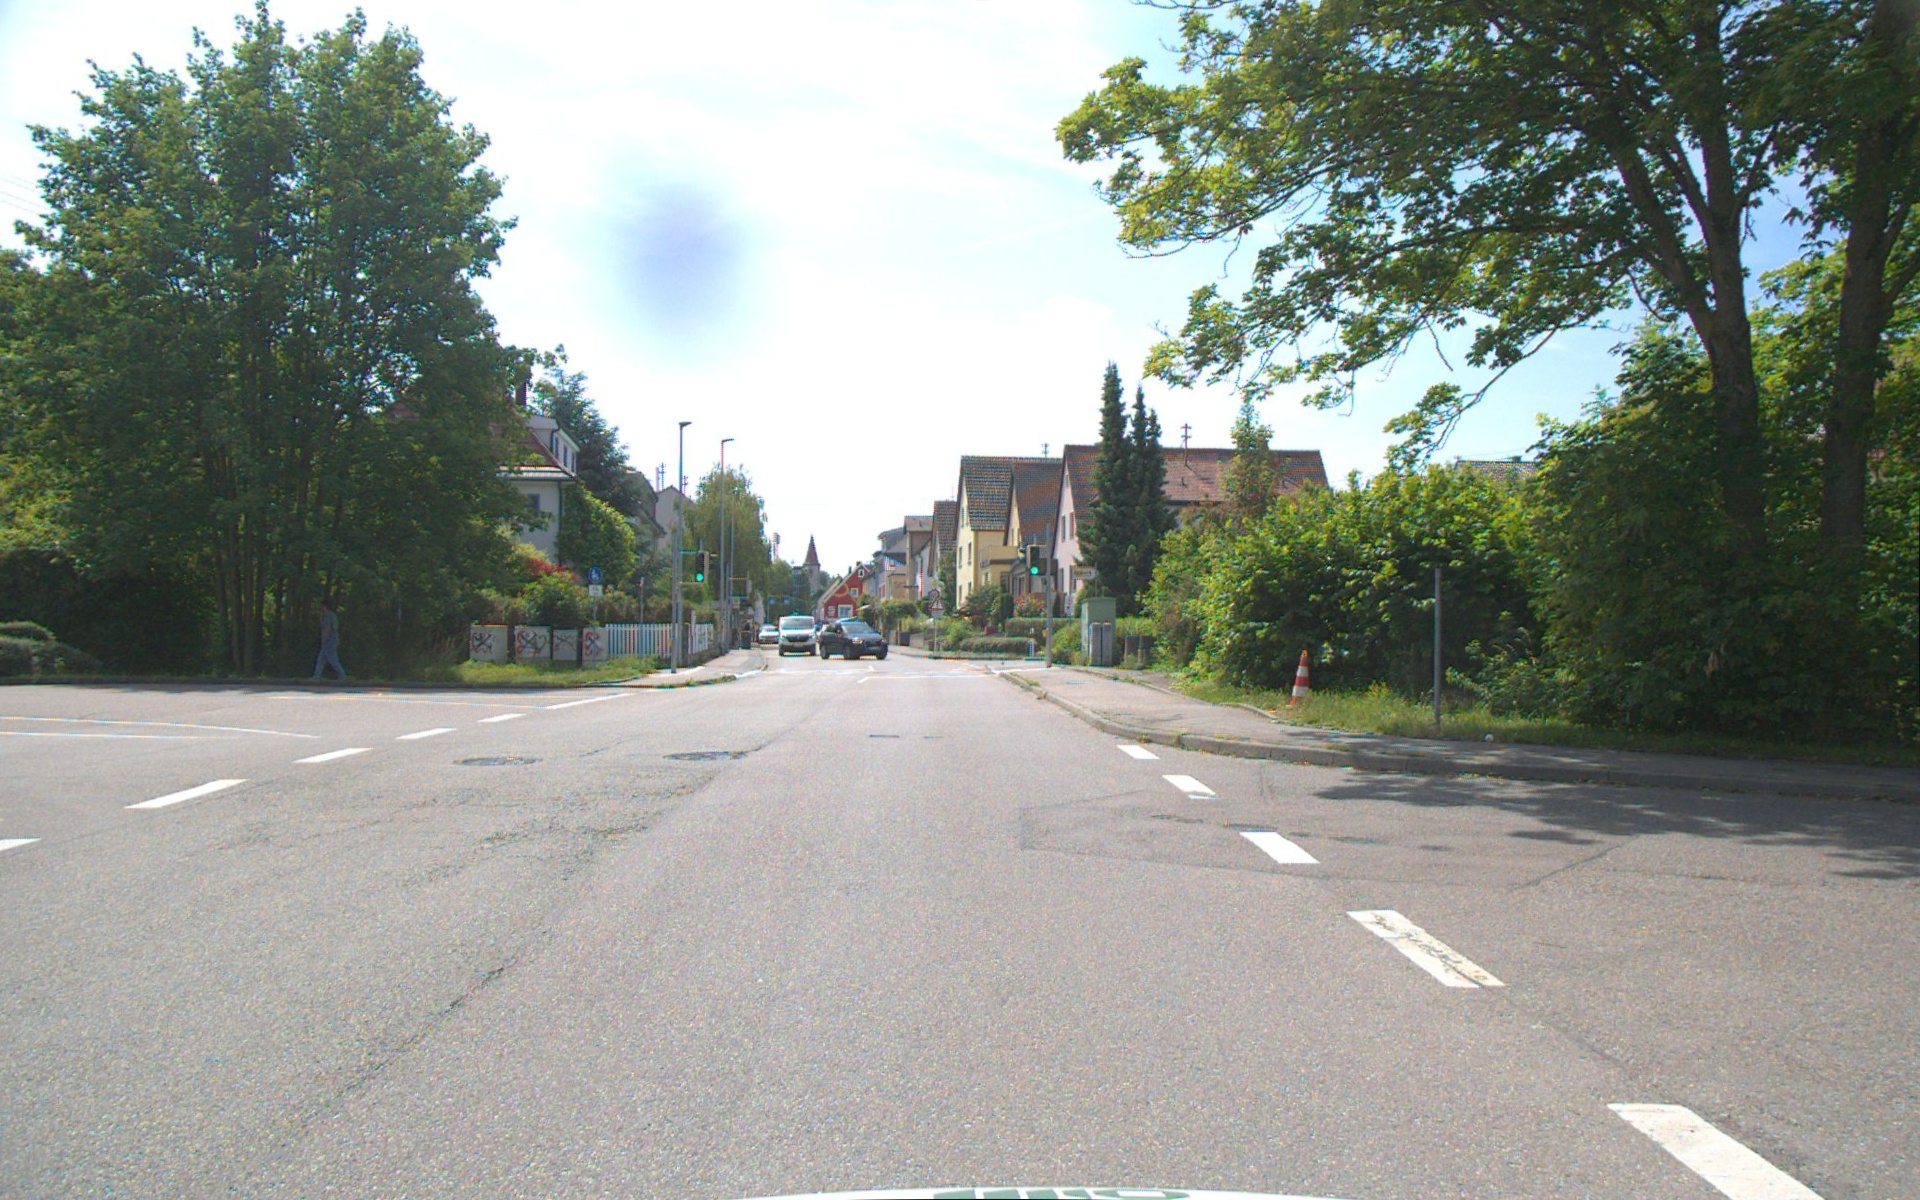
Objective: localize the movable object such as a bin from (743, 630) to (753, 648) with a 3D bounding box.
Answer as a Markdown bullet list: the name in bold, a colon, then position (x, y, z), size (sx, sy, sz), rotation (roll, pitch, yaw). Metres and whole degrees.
- **movable object such as a bin**: position (-12.779, 2.357, 99.879), size (0.596, 1.064, 0.724), rotation (1, 0, -8)

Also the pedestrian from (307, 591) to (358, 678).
- **pedestrian**: position (-13.419, 0.741, 35.398), size (0.720, 1.808, 0.690), rotation (-3, -2, 17)

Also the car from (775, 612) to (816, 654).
- **car**: position (-8.379, 1.681, 83.993), size (1.844, 1.999, 4.893), rotation (-2, -1, -8)

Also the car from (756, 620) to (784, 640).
- **car**: position (-16.229, 2.558, 141.395), size (2.068, 1.588, 4.311), rotation (0, -1, -3)

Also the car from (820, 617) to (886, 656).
- **car**: position (-4.667, 1.561, 71.723), size (1.514, 1.568, 4.273), rotation (0, 0, -23)
